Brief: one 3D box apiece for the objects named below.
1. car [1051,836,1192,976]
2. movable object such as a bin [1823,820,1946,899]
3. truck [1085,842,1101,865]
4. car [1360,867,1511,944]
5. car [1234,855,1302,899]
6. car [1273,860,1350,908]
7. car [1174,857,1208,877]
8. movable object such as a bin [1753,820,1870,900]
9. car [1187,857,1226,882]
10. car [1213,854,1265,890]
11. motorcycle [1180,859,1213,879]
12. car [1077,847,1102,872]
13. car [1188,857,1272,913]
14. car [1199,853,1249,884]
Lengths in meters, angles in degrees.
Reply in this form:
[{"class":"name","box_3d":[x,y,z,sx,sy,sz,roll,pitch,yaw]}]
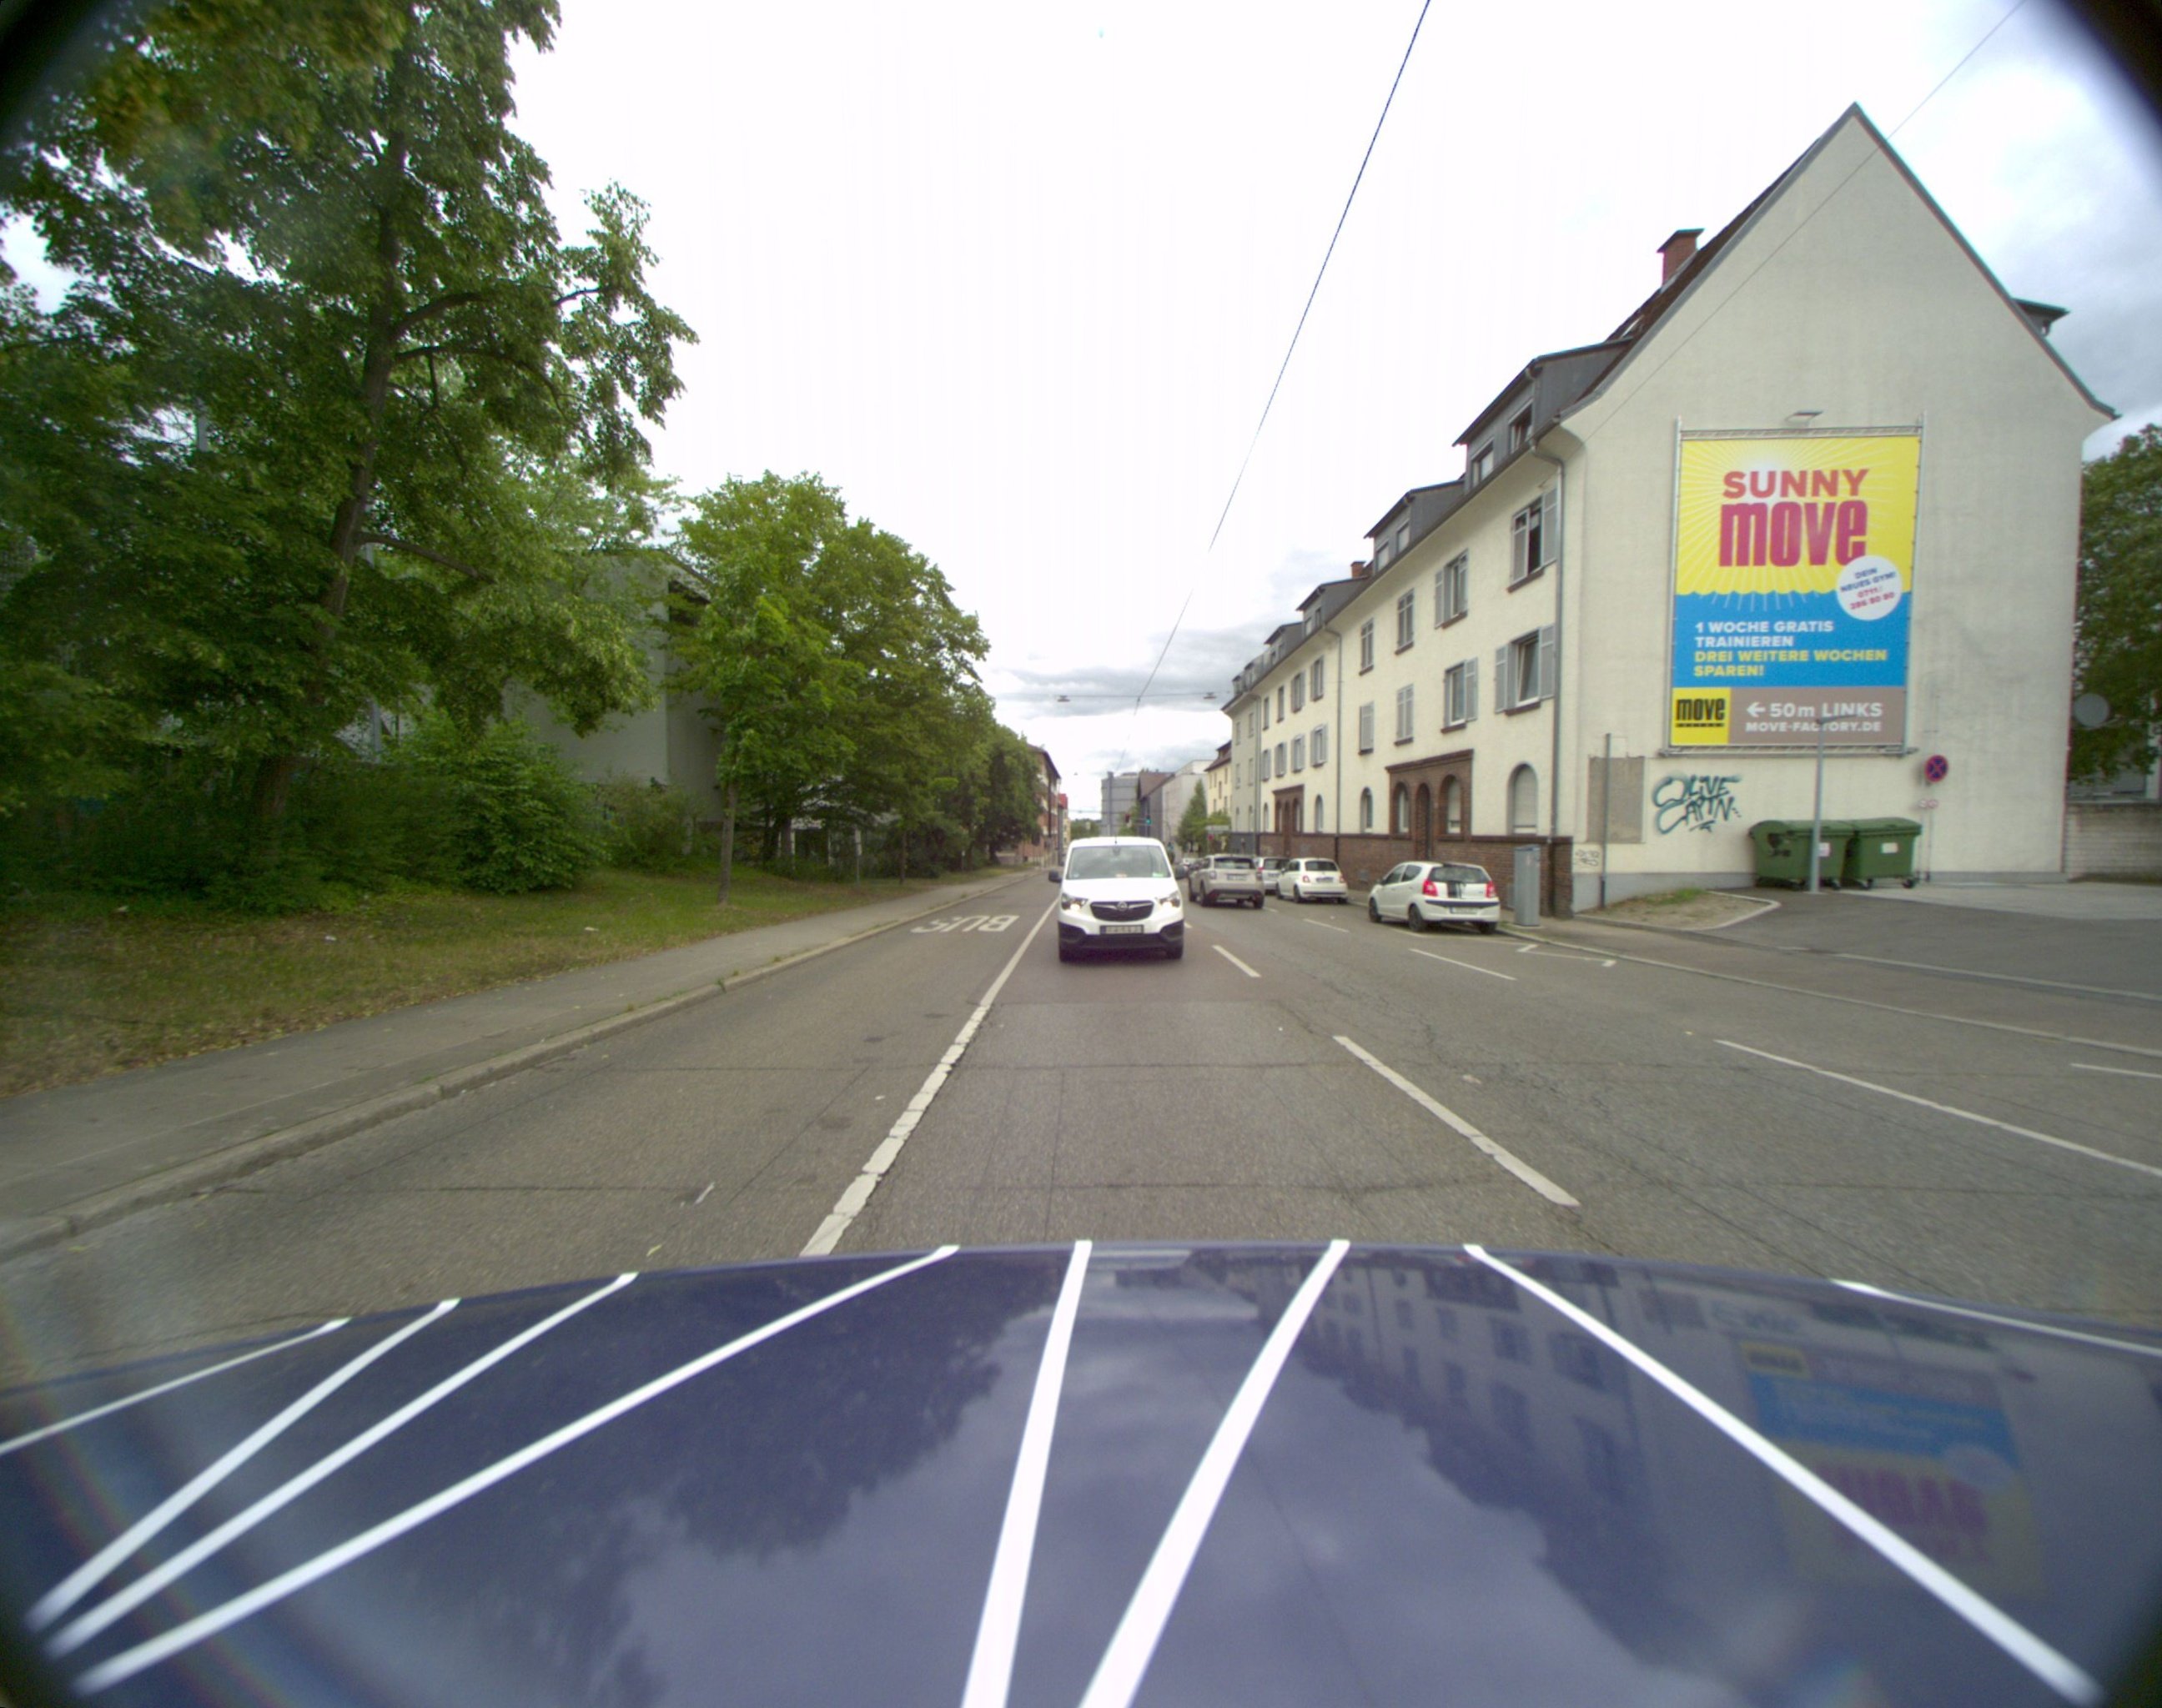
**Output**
[{"class":"car","box_3d":[0.580,0.736,12.206,1.850,1.831,4.285,-1,-1,1]},{"class":"movable object such as a bin","box_3d":[16.240,0.107,15.402,1.268,1.529,1.104,1,1,1]},{"class":"truck","box_3d":[1.956,-0.060,122.199,2.545,3.478,8.521,1,0,1]},{"class":"car","box_3d":[7.520,1.019,16.507,1.623,1.417,3.665,1,0,1]},{"class":"car","box_3d":[7.532,0.884,30.984,1.731,1.549,4.081,2,0,0]},{"class":"car","box_3d":[7.731,0.947,25.812,1.551,1.466,3.604,1,0,1]},{"class":"car","box_3d":[7.864,0.906,54.628,1.731,1.366,4.337,1,0,-1]},{"class":"movable object such as a bin","box_3d":[14.822,0.120,15.458,1.268,1.529,1.104,1,1,1]},{"class":"car","box_3d":[7.764,0.917,47.216,1.731,1.421,4.192,1,0,1]},{"class":"car","box_3d":[7.457,0.790,36.144,1.731,1.590,4.502,1,0,3]},{"class":"motorcycle","box_3d":[7.823,1.019,51.408,2.048,1.228,0.806,2,0,-17]},{"class":"car","box_3d":[0.668,0.424,58.341,1.850,1.832,4.283,-1,0,1]},{"class":"car","box_3d":[4.425,0.869,23.101,1.802,1.516,4.000,1,0,1]},{"class":"car","box_3d":[7.754,0.747,41.732,1.850,1.612,4.643,1,0,0]}]
